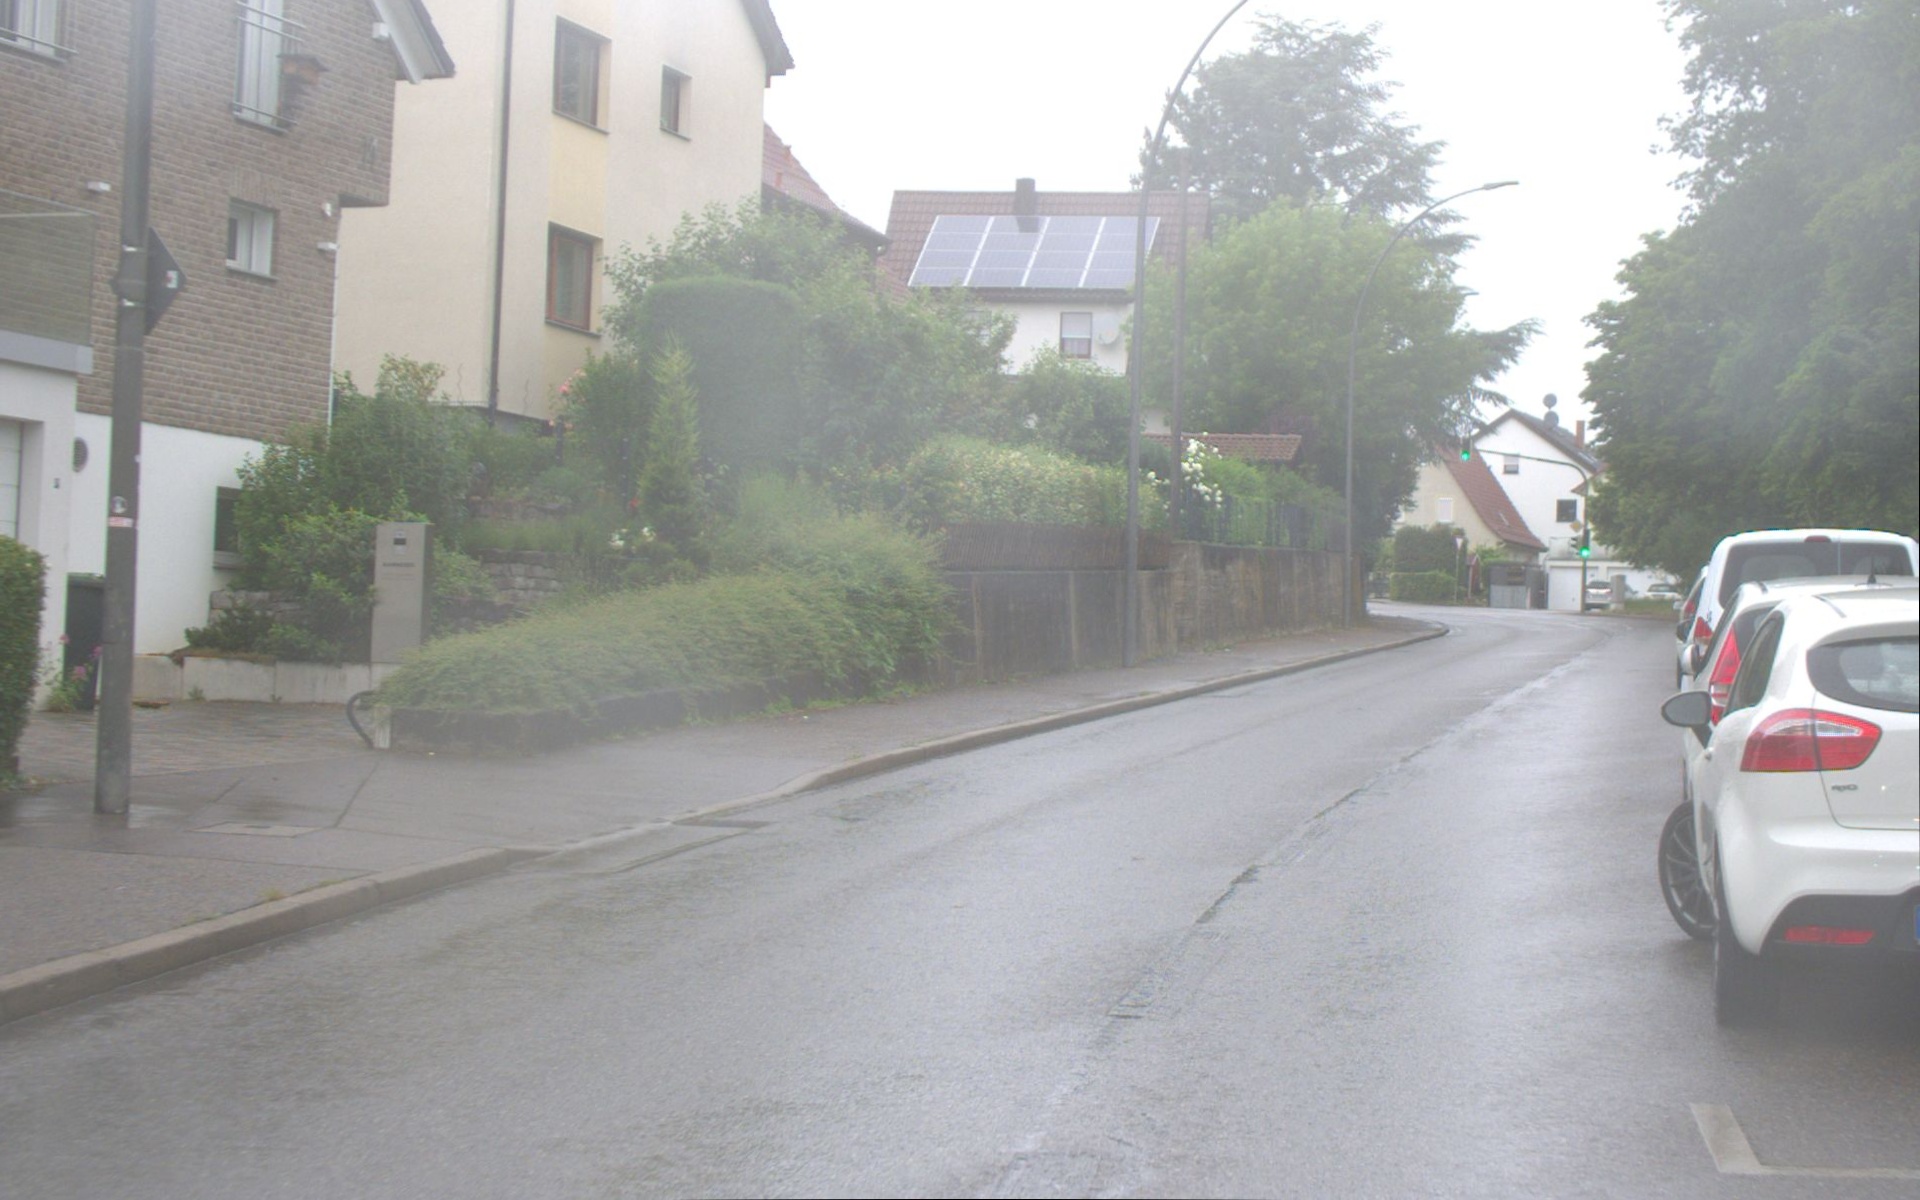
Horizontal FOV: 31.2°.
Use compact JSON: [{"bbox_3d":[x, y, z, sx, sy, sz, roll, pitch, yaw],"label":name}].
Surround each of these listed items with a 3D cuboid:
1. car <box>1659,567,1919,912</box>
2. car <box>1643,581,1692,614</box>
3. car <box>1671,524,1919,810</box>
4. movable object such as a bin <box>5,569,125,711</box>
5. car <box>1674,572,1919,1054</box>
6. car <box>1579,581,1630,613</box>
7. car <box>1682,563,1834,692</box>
[{"bbox_3d":[4.450,0.616,17.466,1.646,1.457,3.998,2,2,12],"label":"car"},{"bbox_3d":[32.826,-0.126,159.476,1.908,1.437,3.997,1,1,16],"label":"car"},{"bbox_3d":[5.730,0.411,23.369,1.638,1.735,4.133,1,0,13],"label":"car"},{"bbox_3d":[-6.868,0.298,26.399,0.560,1.071,0.711,1,0,24],"label":"movable object such as a bin"},{"bbox_3d":[3.506,0.662,12.588,1.612,1.475,4.036,2,1,10],"label":"car"},{"bbox_3d":[30.013,-0.135,160.023,1.908,1.437,3.997,1,1,16],"label":"car"},{"bbox_3d":[10.419,0.352,44.762,1.816,1.568,3.877,1,0,14],"label":"car"}]
